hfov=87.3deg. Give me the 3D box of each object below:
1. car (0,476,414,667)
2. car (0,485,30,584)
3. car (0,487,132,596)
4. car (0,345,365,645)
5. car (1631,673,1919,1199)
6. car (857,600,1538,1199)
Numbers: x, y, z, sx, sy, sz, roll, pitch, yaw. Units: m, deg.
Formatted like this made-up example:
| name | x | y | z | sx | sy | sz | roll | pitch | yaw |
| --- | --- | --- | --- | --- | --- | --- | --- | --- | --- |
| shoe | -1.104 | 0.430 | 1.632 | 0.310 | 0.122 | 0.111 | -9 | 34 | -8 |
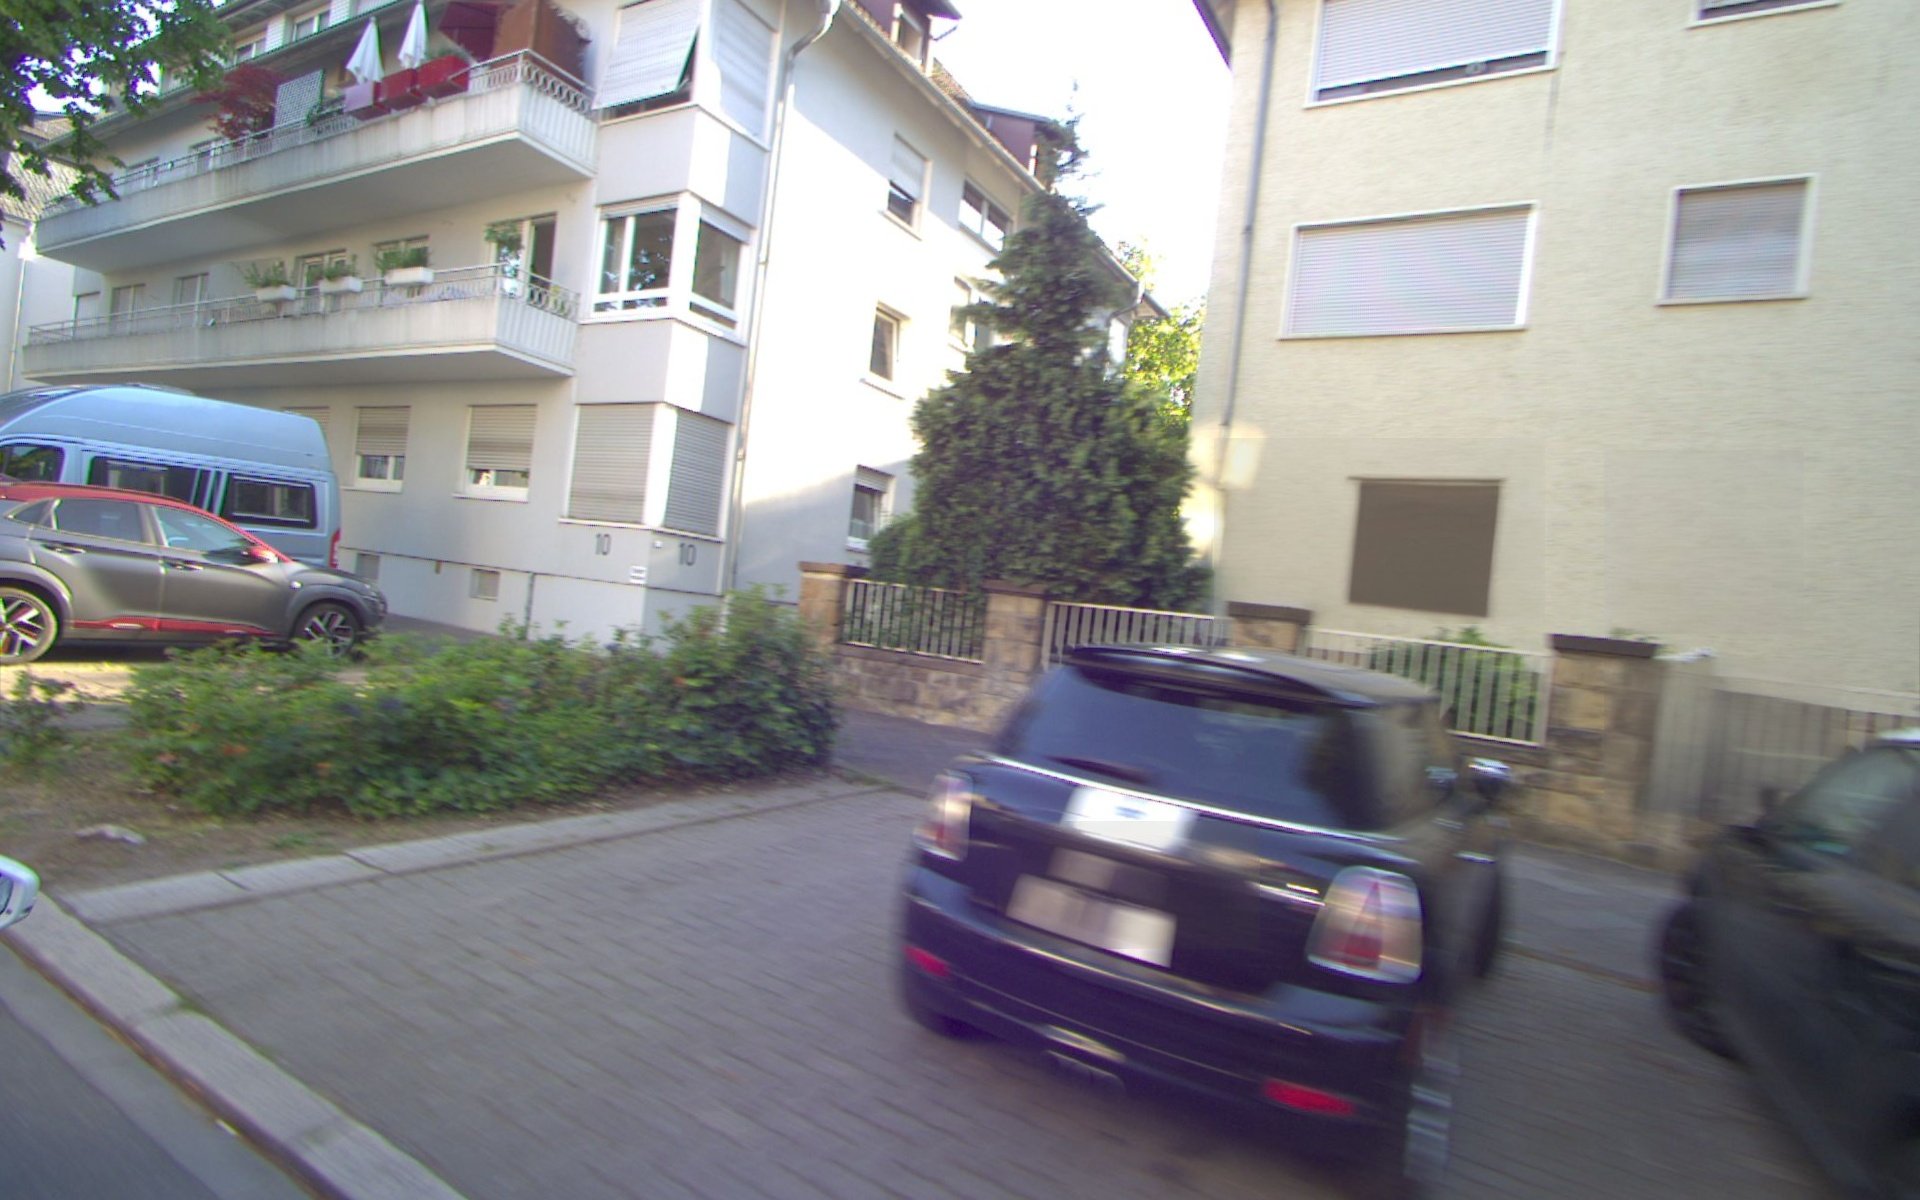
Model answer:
| name | x | y | z | sx | sy | sz | roll | pitch | yaw |
| --- | --- | --- | --- | --- | --- | --- | --- | --- | --- |
| car | -8.003 | -0.253 | 9.972 | 1.729 | 1.588 | 4.193 | 7 | 1 | 30 |
| car | -17.027 | -1.259 | 15.395 | 1.612 | 1.573 | 3.726 | 6 | -1 | 30 |
| car | -14.655 | -0.975 | 14.540 | 1.729 | 1.448 | 3.726 | 5 | -1 | 30 |
| car | -10.118 | -1.131 | 11.555 | 2.041 | 2.938 | 5.102 | 7 | 0 | 30 |
| car | 3.422 | 1.120 | 3.057 | 1.728 | 1.560 | 4.309 | 7 | 0 | 28 |
| car | 1.345 | 0.904 | 4.298 | 1.729 | 1.445 | 3.406 | 7 | 1 | 31 |
